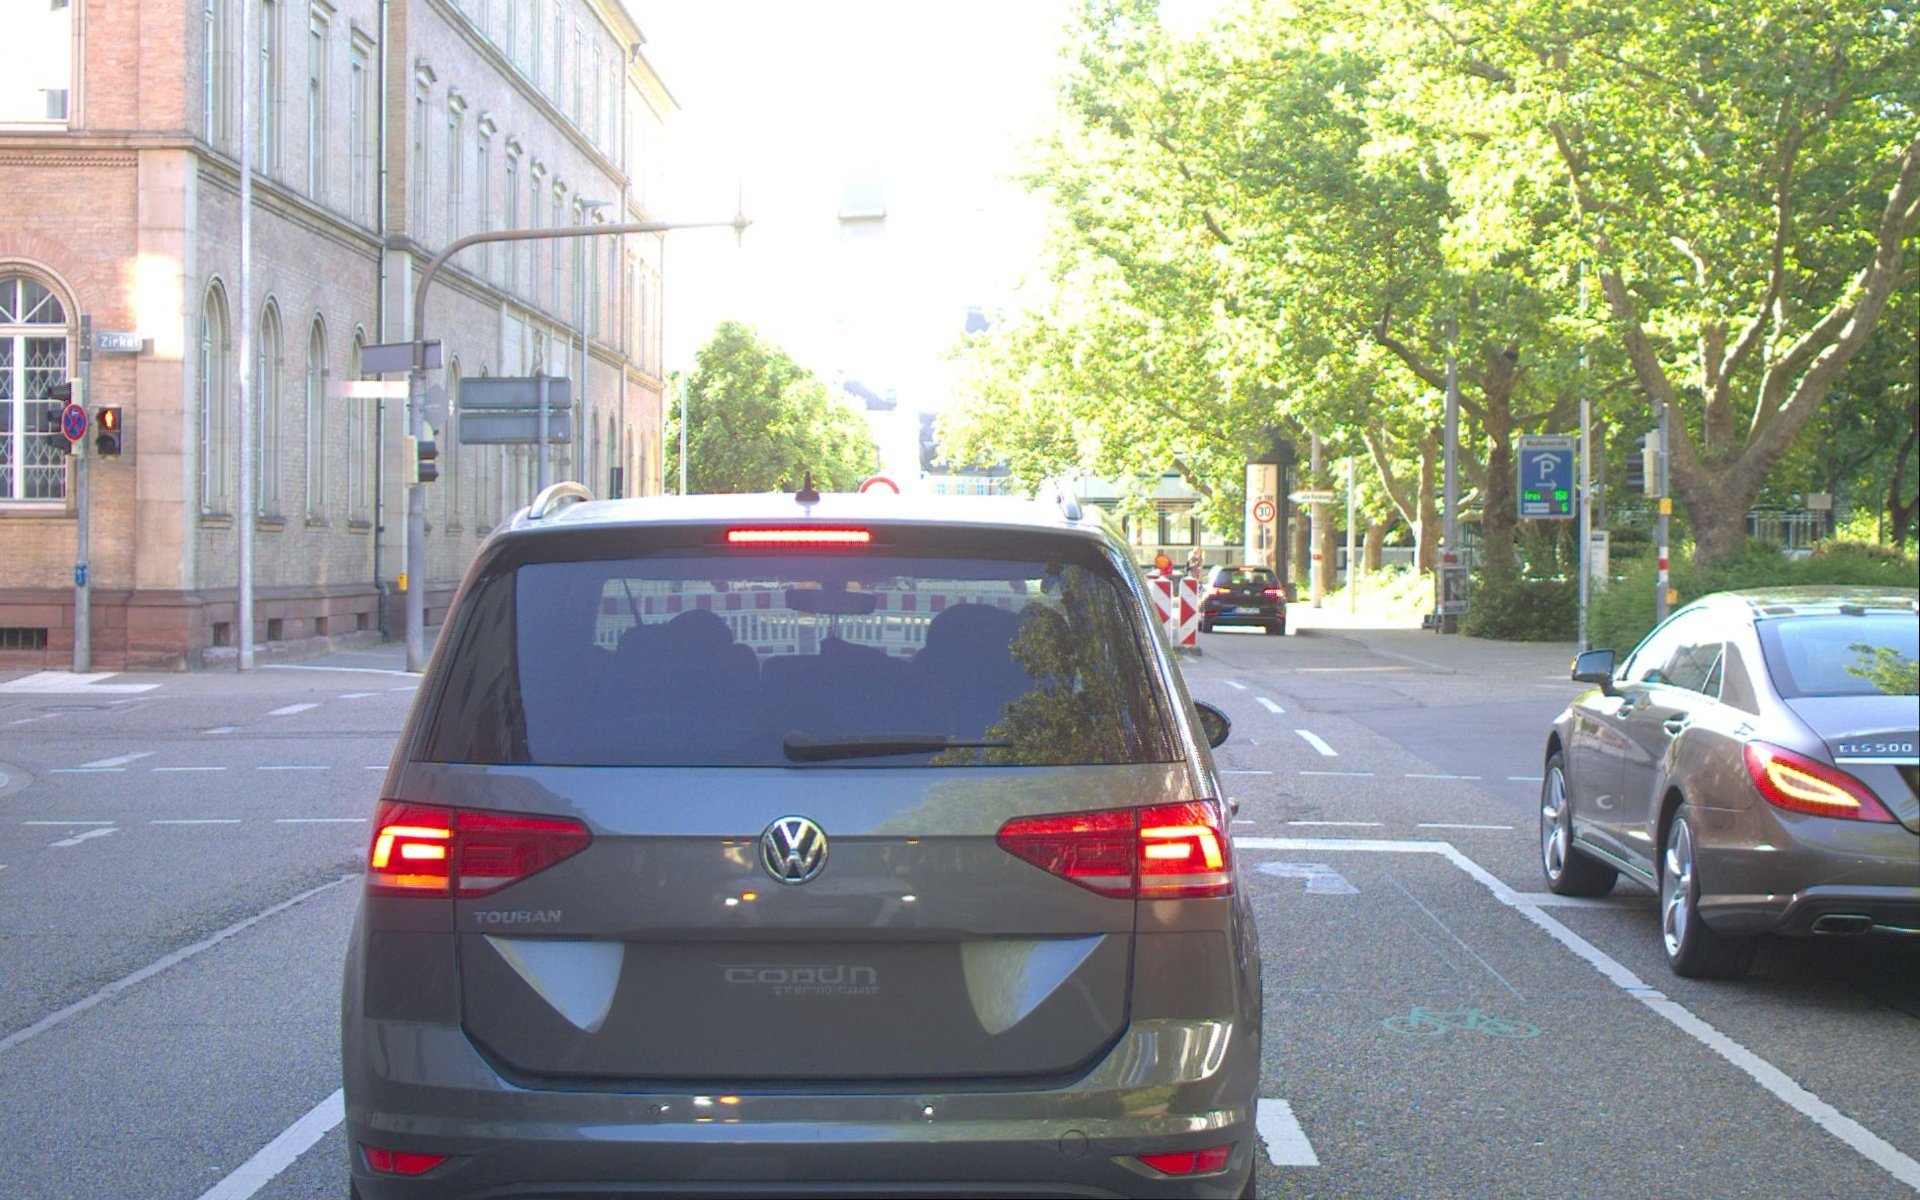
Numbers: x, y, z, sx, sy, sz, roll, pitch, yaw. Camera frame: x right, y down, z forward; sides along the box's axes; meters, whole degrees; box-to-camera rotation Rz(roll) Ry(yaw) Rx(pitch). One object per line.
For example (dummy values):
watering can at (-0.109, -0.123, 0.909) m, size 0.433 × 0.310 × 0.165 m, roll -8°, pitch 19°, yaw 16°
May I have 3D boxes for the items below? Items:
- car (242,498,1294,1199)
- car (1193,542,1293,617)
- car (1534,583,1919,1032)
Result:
car at (-0.263, 0.609, 7.904) m, size 1.809 × 1.607 × 4.000 m, roll 0°, pitch 1°, yaw 2°
car at (5.906, -0.443, 72.128) m, size 1.689 × 1.435 × 3.902 m, roll 3°, pitch 1°, yaw 0°
car at (3.504, 0.678, 13.456) m, size 1.843 × 1.424 × 4.517 m, roll 1°, pitch 1°, yaw 2°
